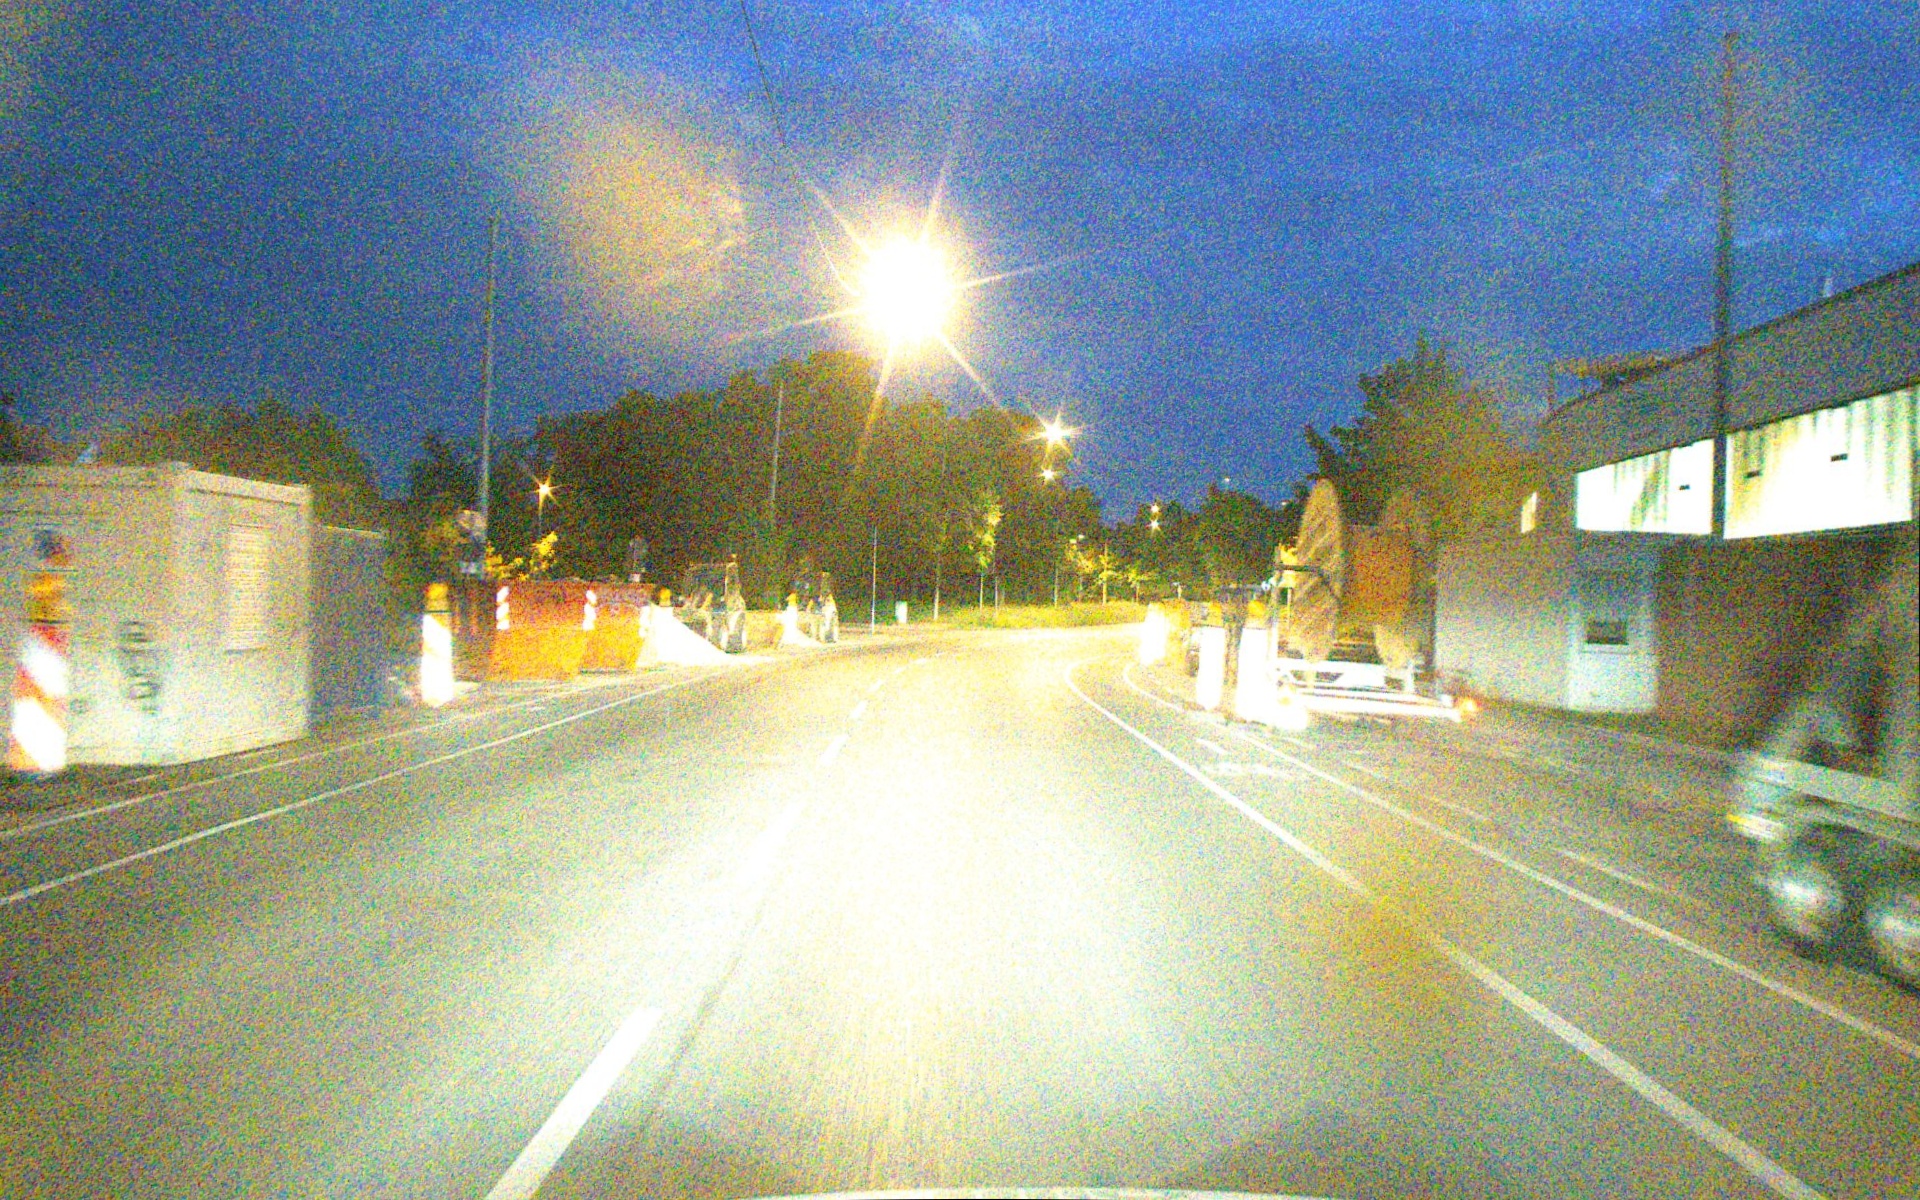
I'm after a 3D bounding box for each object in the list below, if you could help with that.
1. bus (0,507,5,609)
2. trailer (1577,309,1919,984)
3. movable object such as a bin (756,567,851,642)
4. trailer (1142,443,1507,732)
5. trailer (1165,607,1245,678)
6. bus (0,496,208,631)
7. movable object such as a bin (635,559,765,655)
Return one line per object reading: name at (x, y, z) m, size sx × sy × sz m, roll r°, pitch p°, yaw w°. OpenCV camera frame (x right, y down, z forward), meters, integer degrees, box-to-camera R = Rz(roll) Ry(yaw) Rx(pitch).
bus at (-32.523, -1.315, 44.363) m, size 2.888 × 3.035 × 12.257 m, roll 2°, pitch 0°, yaw 28°
trailer at (5.338, 0.257, 8.026) m, size 2.562 × 2.895 × 4.705 m, roll 3°, pitch -1°, yaw -4°
movable object such as a bin at (-5.284, 0.158, 56.531) m, size 1.951 × 2.418 × 4.706 m, roll 1°, pitch 0°, yaw 11°
trailer at (4.651, -0.117, 22.226) m, size 3.413 × 3.275 × 4.860 m, roll 3°, pitch -1°, yaw -4°
trailer at (5.523, 0.924, 37.622) m, size 1.217 × 1.459 × 3.727 m, roll 2°, pitch 0°, yaw 0°
bus at (-24.384, -0.924, 40.801) m, size 2.949 × 3.260 × 12.680 m, roll 2°, pitch 0°, yaw 17°
movable object such as a bin at (-6.943, 0.146, 44.667) m, size 1.951 × 2.418 × 4.706 m, roll 1°, pitch 1°, yaw 11°
